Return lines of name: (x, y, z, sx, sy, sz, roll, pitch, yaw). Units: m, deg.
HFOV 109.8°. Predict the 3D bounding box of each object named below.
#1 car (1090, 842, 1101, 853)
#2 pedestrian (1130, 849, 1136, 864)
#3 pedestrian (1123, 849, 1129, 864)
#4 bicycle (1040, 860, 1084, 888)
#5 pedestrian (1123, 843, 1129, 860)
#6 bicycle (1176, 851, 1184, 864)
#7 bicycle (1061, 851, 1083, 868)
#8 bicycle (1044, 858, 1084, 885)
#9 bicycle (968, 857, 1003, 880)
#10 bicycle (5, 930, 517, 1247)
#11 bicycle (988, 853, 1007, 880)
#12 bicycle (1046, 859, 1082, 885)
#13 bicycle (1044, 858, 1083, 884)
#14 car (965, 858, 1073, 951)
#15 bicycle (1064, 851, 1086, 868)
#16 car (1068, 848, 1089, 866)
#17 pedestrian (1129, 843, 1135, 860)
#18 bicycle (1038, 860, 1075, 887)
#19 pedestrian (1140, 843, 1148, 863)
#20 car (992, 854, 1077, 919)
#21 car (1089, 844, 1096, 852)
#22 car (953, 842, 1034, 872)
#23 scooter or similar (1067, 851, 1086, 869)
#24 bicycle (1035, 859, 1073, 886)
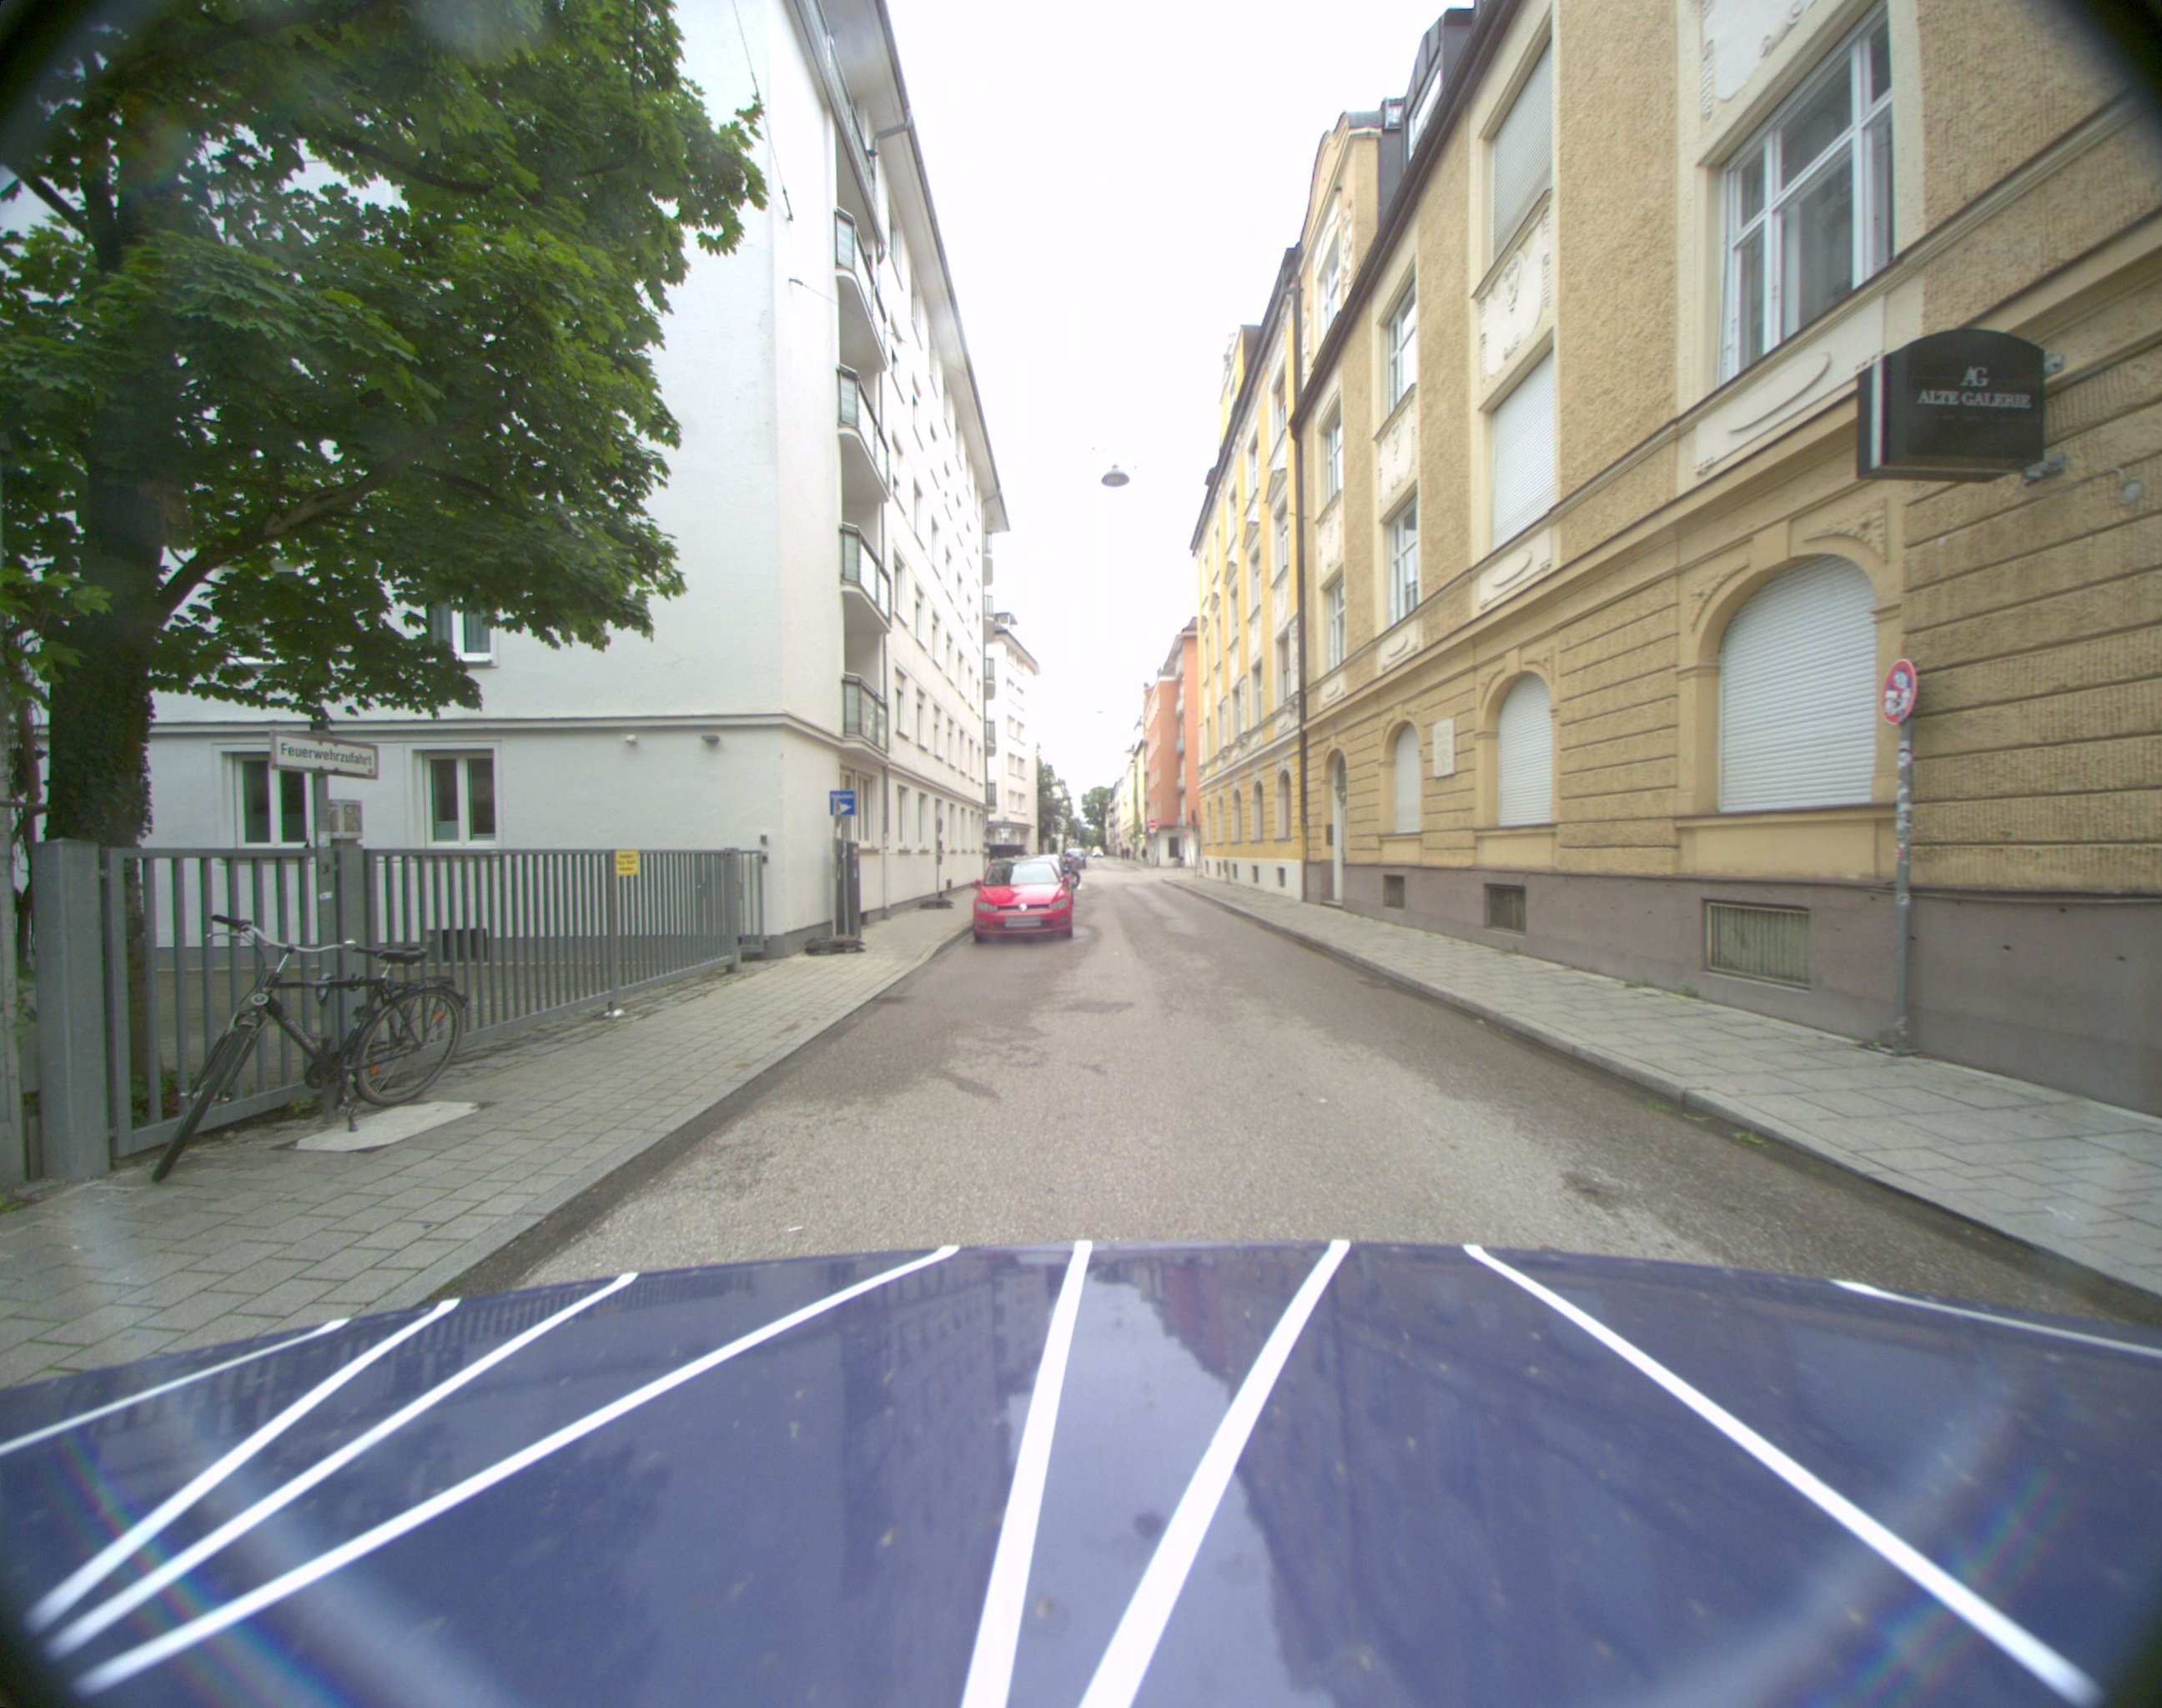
car: (2.643, -1.161, 136.693, 1.929, 1.795, 4.443, -1, 0, 0)
pedestrian: (6.133, 0.261, 90.079, 0.699, 1.783, 0.763, 0, 1, 1)
pedestrian: (5.352, 0.267, 89.964, 0.726, 1.783, 0.830, 0, 1, 1)
bicycle: (-0.748, 0.781, 30.001, 1.707, 1.038, 0.360, 2, 2, 1)
pedestrian: (5.293, -0.290, 90.011, 0.635, 2.002, 0.788, 1, 1, 1)
bicycle: (7.261, 0.270, 55.638, 0.391, 0.932, 1.540, 0, 1, 1)
bicycle: (-0.663, 0.387, 55.488, 1.608, 1.207, 0.529, 0, 1, 3)
bicycle: (-0.741, 0.751, 33.388, 1.699, 1.154, 0.378, -1, 1, 0)
bicycle: (-4.318, 0.652, 34.278, 1.502, 1.038, 0.398, 1, 2, -18)
bicycle: (-4.079, 1.061, 4.069, 0.709, 1.191, 1.834, -1, -2, 1)
bicycle: (-3.976, 0.595, 36.122, 0.399, 1.198, 1.502, 1, 1, -24)
bicycle: (-0.709, 0.759, 31.717, 1.441, 1.038, 0.360, 2, 2, 9)
bicycle: (-0.776, 0.745, 33.787, 1.699, 1.154, 0.378, -1, 1, 0)
car: (-1.230, 0.859, 14.963, 1.766, 1.438, 4.296, -2, 1, -5)
bicycle: (-0.437, 0.395, 54.914, 1.608, 1.207, 0.529, 0, 1, 3)
car: (-0.165, 0.226, 61.307, 1.653, 1.391, 4.000, 0, 1, 1)
pedestrian: (6.008, -0.242, 90.078, 0.635, 2.002, 0.788, 1, 1, 1)
bicycle: (-0.990, 0.773, 30.470, 1.438, 1.038, 0.330, 2, 2, 9)
pedestrian: (5.111, -0.086, 61.563, 0.613, 1.684, 0.565, 0, 1, 0)
car: (-1.107, 0.779, 20.243, 1.799, 1.430, 4.383, -2, 1, 2)
car: (3.063, -1.559, 203.426, 1.998, 2.002, 4.646, -1, 1, 0)
car: (-5.445, 0.187, 47.569, 4.676, 1.880, 1.935, 0, 0, 9)
scooter or similar: (-0.297, 0.418, 53.487, 1.340, 1.207, 0.344, 0, 1, 3)
bicycle: (-1.122, 0.756, 31.384, 1.520, 1.038, 0.360, 2, 2, 9)
